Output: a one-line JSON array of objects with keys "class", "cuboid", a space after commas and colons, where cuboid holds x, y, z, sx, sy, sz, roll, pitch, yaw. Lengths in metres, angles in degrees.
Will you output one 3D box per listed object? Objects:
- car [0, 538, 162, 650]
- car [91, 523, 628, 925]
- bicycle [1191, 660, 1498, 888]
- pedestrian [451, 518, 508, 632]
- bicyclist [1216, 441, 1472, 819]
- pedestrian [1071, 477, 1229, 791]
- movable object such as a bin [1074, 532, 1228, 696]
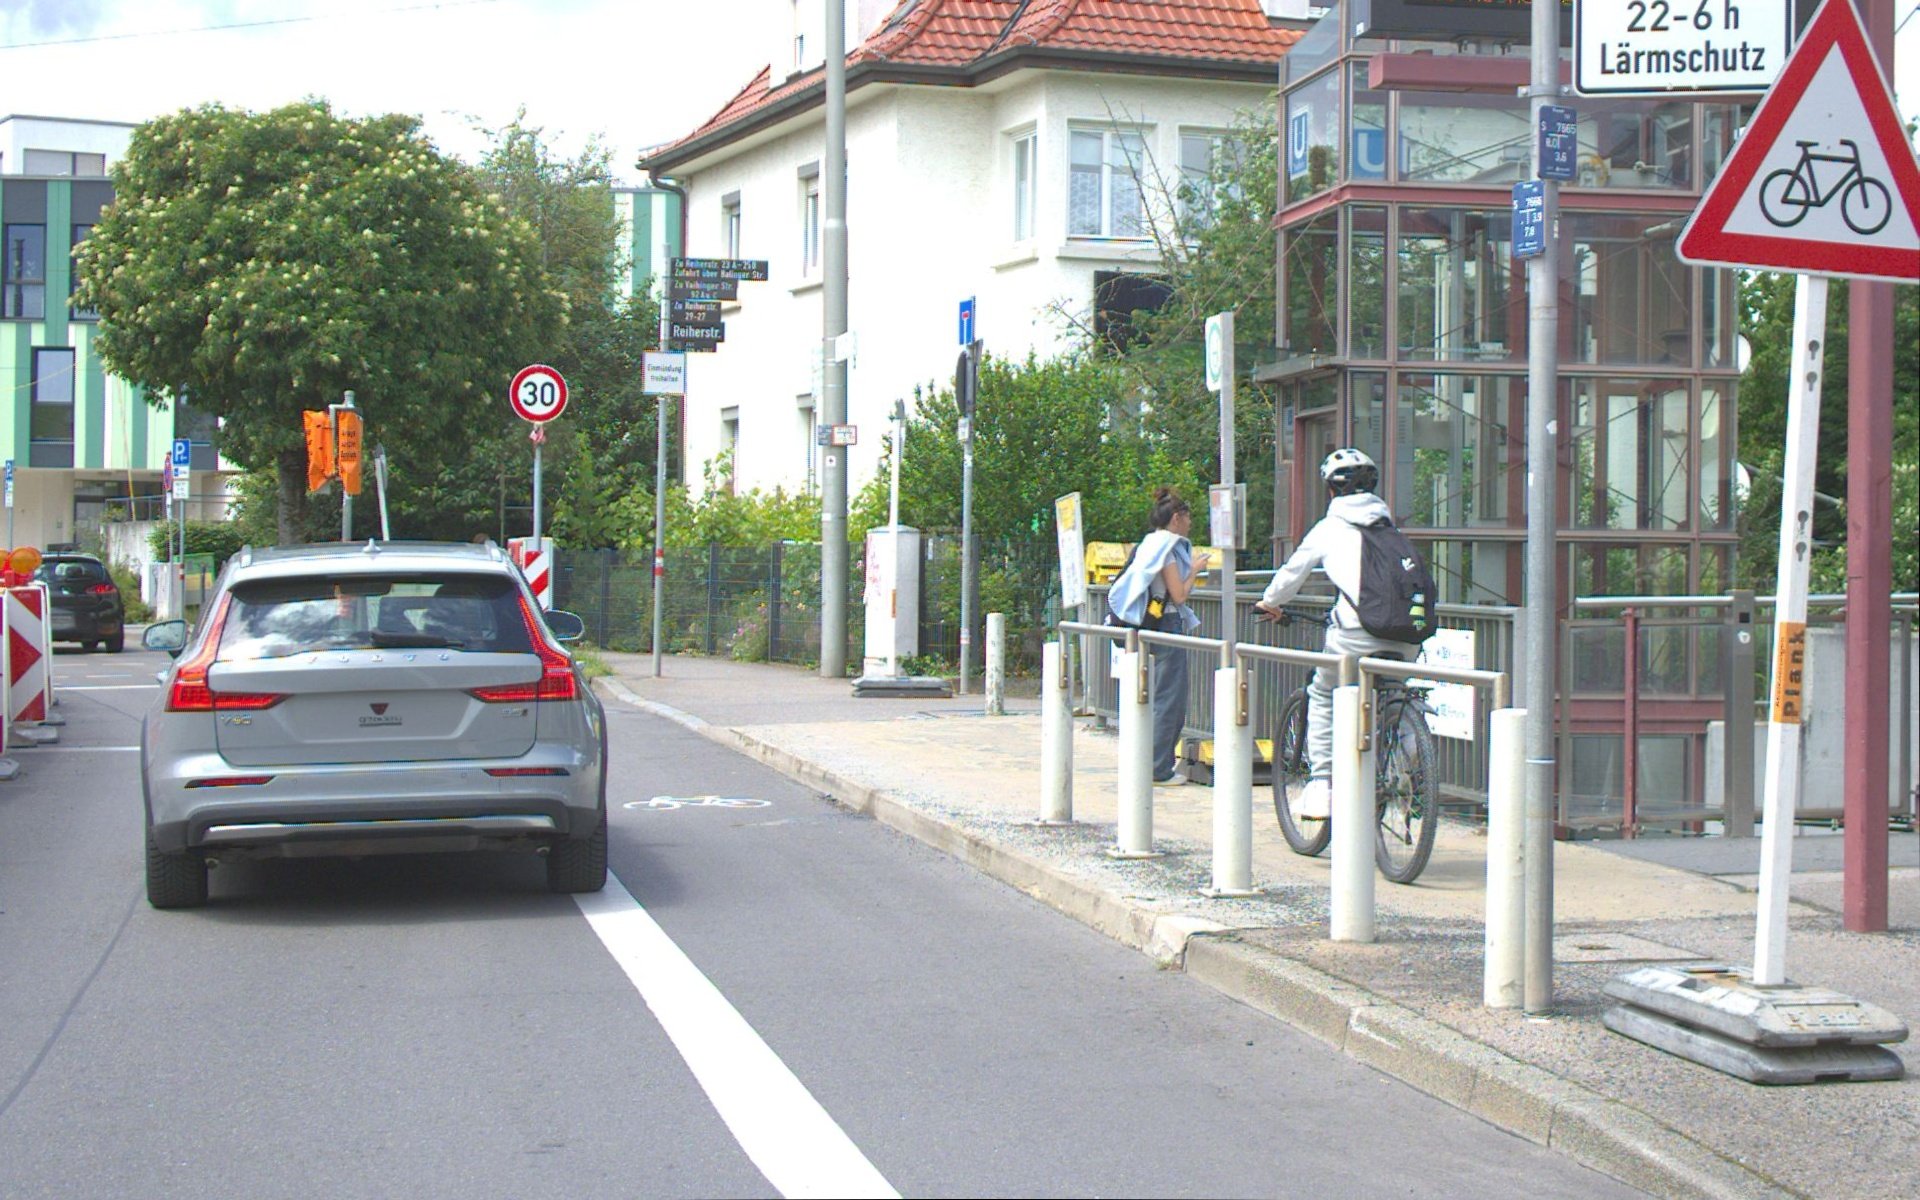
[{"class": "car", "cuboid": [-12.907, -0.109, 49.759, 1.854, 1.508, 4.001, 2, 0, -25]}, {"class": "car", "cuboid": [-2.463, 0.432, 15.014, 1.854, 1.508, 4.001, 0, 1, -3]}, {"class": "bicycle", "cuboid": [1.488, 0.661, 13.686, 0.635, 0.751, 2.063, 1, 1, -10]}, {"class": "pedestrian", "cuboid": [-6.528, -0.341, 46.732, 0.521, 1.534, 0.635, 0, 1, 22]}, {"class": "bicyclist", "cuboid": [1.487, 0.102, 13.481, 0.656, 1.411, 1.179, 1, 1, -11]}, {"class": "pedestrian", "cuboid": [0.996, 0.182, 18.063, 0.597, 1.577, 0.401, 6, -2, -10]}, {"class": "movable object such as a bin", "cuboid": [1.746, 0.121, 31.568, 1.268, 1.465, 1.004, 1, 1, -4]}]
